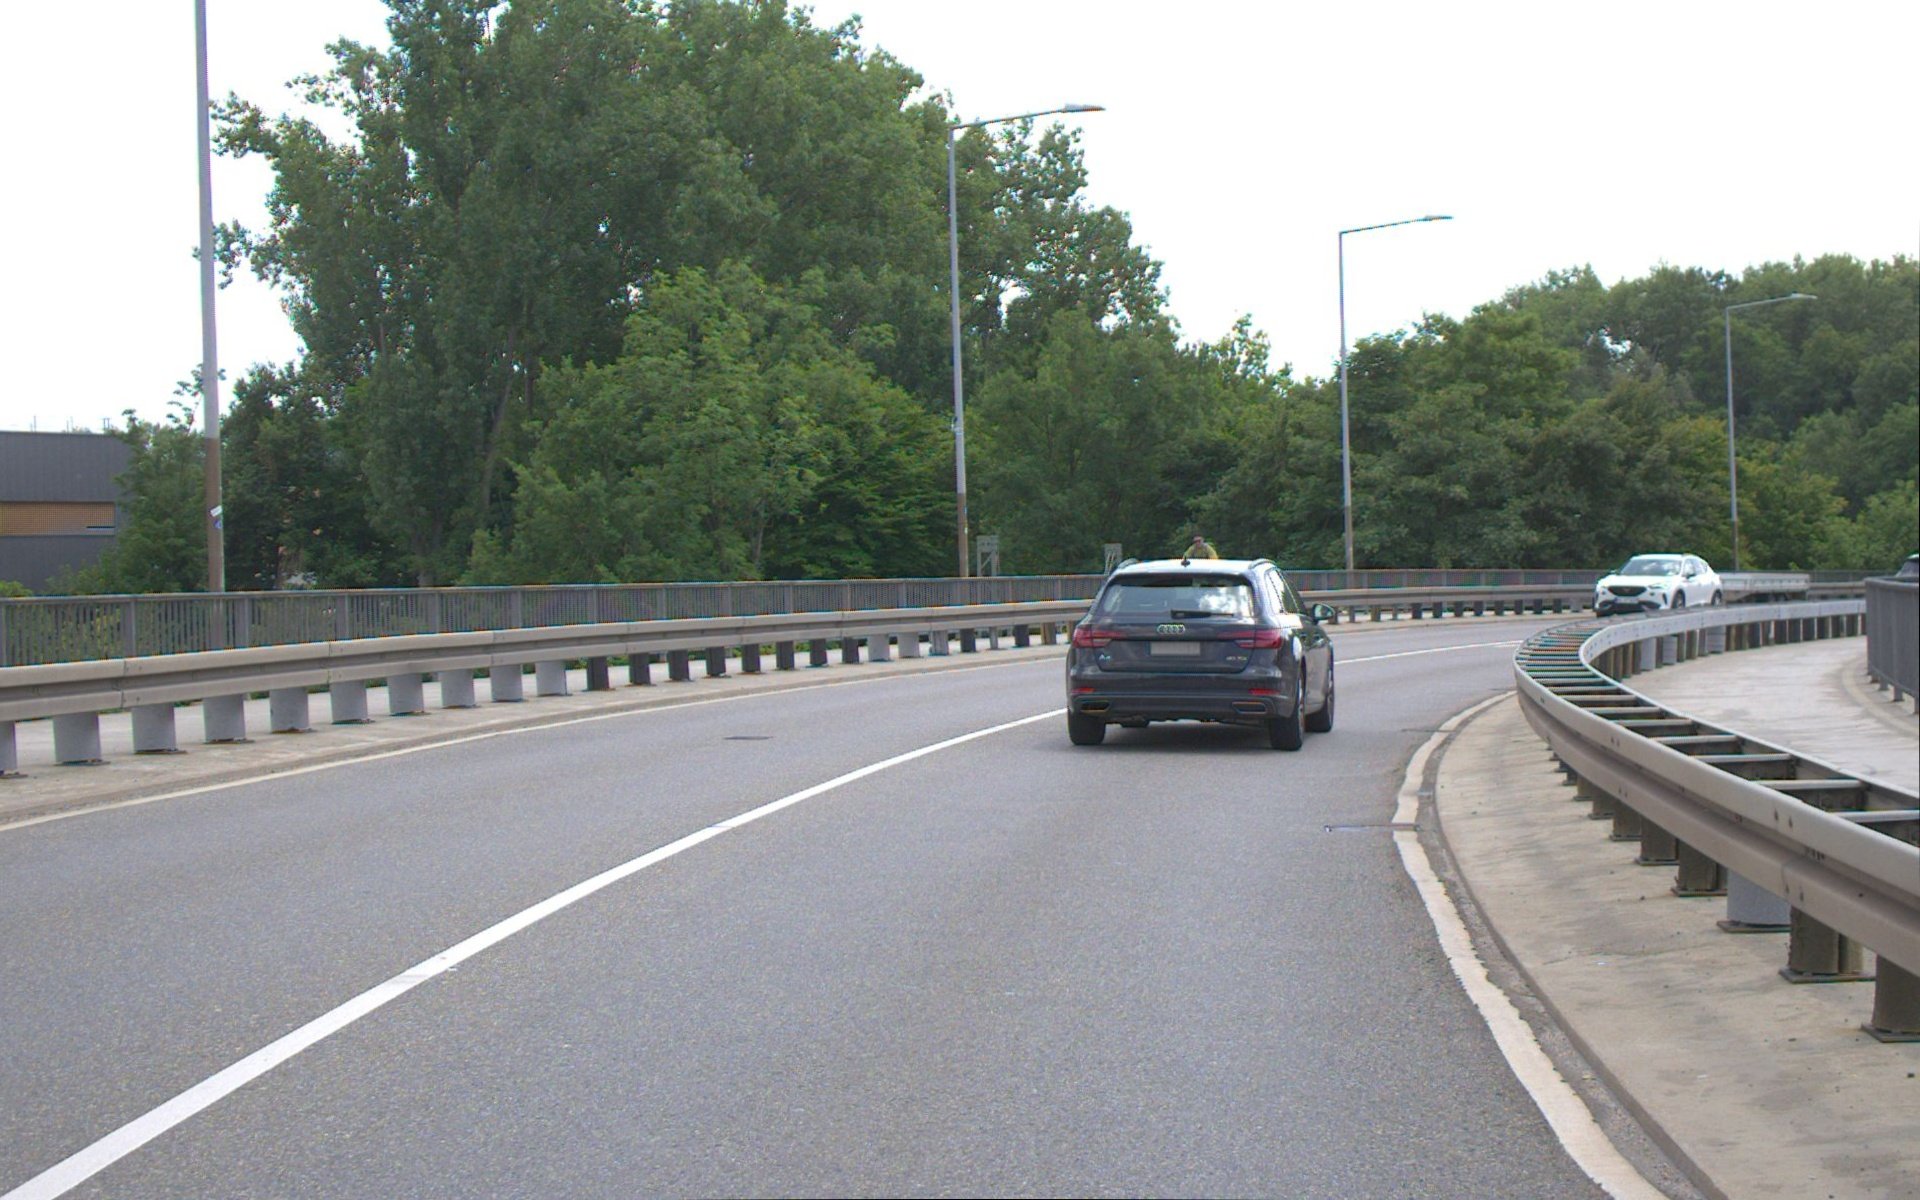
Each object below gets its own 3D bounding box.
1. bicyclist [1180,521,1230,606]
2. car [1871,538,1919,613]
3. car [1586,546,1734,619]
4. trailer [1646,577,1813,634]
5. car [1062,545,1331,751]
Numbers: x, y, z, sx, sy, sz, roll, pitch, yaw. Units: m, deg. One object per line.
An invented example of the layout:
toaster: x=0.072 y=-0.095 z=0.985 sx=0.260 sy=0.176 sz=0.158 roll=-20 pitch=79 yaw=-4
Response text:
bicyclist: x=4.620 y=-0.690 z=64.787 sx=0.767 sy=1.597 sz=0.947 roll=0 pitch=0 yaw=15
car: x=22.569 y=-0.554 z=78.439 sx=1.826 sy=1.646 sz=3.846 roll=3 pitch=2 yaw=43
car: x=15.498 y=-0.402 z=76.006 sx=1.809 sy=1.530 sz=4.341 roll=1 pitch=1 yaw=31
trailer: x=18.068 y=0.105 z=80.502 sx=2.049 sy=1.205 sz=5.972 roll=1 pitch=1 yaw=31
car: x=1.950 y=0.322 z=27.214 sx=1.828 sy=1.486 sz=4.205 roll=0 pitch=1 yaw=8
